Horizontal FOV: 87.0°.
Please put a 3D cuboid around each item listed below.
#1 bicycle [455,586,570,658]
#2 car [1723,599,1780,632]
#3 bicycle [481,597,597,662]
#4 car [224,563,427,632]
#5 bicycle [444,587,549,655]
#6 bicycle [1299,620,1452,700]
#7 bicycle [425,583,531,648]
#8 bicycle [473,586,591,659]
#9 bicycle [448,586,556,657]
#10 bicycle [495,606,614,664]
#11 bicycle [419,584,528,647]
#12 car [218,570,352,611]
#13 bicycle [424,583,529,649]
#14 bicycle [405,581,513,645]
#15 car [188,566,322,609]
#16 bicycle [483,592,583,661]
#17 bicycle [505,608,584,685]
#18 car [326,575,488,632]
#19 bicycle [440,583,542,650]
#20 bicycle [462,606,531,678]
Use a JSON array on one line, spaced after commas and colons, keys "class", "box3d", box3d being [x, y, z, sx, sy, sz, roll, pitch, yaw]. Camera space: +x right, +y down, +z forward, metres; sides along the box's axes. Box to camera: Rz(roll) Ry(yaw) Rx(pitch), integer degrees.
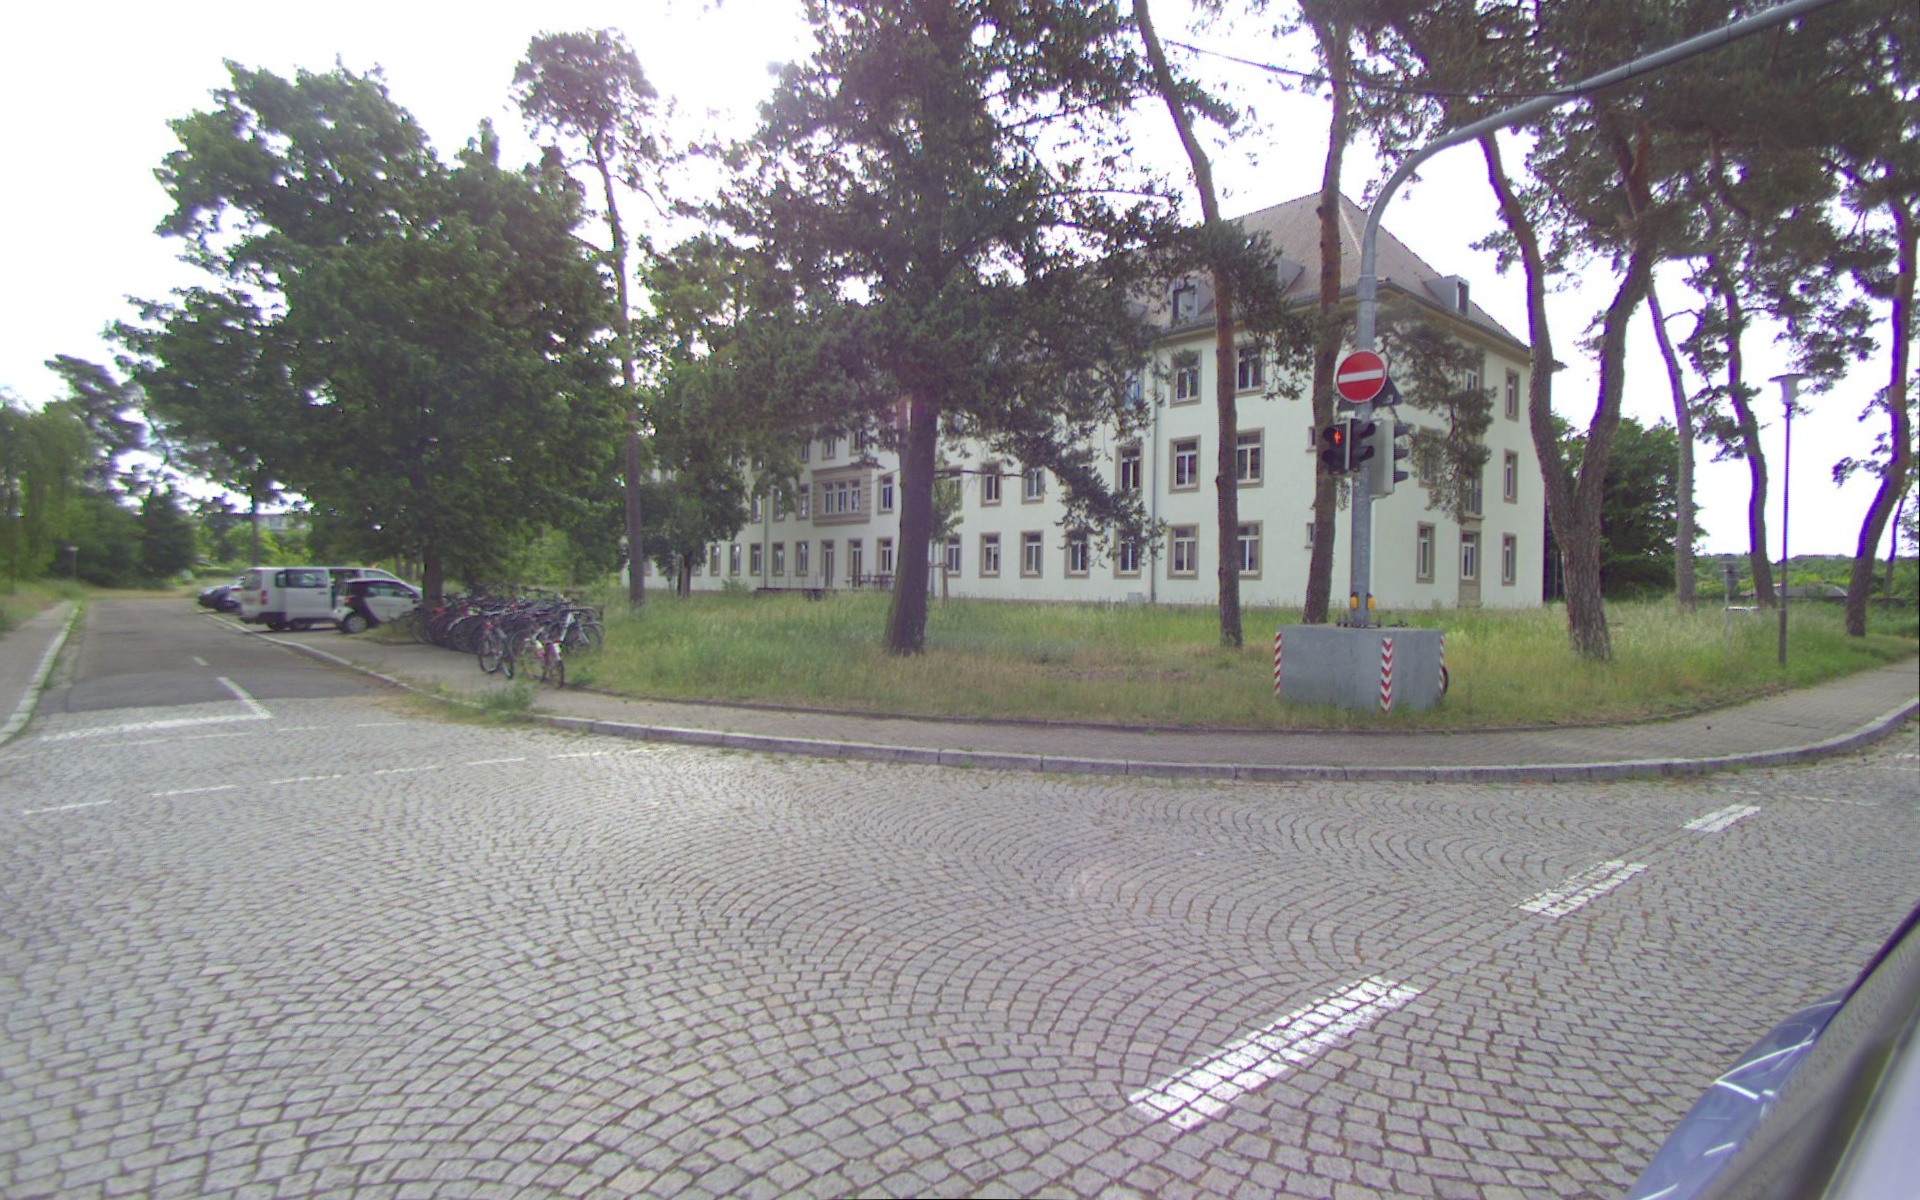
[{"class": "bicycle", "box3d": [-8.635, 0.412, 19.577, 1.938, 1.336, 0.578, 0, 0, -36]}, {"class": "car", "box3d": [38.613, 0.726, 49.340, 3.222, 1.451, 1.640, -3, 3, -41]}, {"class": "bicycle", "box3d": [-7.588, 0.520, 18.293, 1.866, 1.115, 0.543, 0, 0, -36]}, {"class": "car", "box3d": [-19.337, -0.105, 31.063, 2.224, 1.934, 4.805, 1, 1, 33]}, {"class": "bicycle", "box3d": [-9.307, 0.409, 20.374, 1.882, 1.336, 0.393, 0, 0, -36]}, {"class": "bicycle", "box3d": [5.189, 0.721, 12.727, 0.563, 0.885, 1.703, 1, 1, -40]}, {"class": "bicycle", "box3d": [-10.336, 0.328, 21.743, 1.977, 1.336, 0.542, 0, 0, -36]}, {"class": "bicycle", "box3d": [-8.123, 0.413, 19.271, 2.009, 1.336, 0.439, 0, 0, -36]}, {"class": "bicycle", "box3d": [-9.035, 0.412, 20.012, 1.884, 1.336, 0.507, 0, 0, -36]}, {"class": "bicycle", "box3d": [-7.126, 0.592, 17.829, 1.866, 0.961, 0.543, 0, 0, -37]}, {"class": "bicycle", "box3d": [-10.657, 0.327, 22.220, 2.092, 1.336, 0.556, 0, 0, -36]}, {"class": "car", "box3d": [-27.983, -0.396, 42.048, 4.437, 1.638, 1.997, 0, 1, -41]}, {"class": "bicycle", "box3d": [-10.101, 0.326, 21.195, 1.902, 1.336, 0.555, 0, 0, -36]}, {"class": "bicycle", "box3d": [-11.207, 0.280, 22.683, 2.063, 1.384, 0.760, 1, 0, -36]}, {"class": "car", "box3d": [-30.593, -0.526, 44.005, 4.613, 1.795, 1.997, 0, 1, -41]}, {"class": "bicycle", "box3d": [-7.912, 0.475, 18.781, 1.608, 1.231, 0.543, 0, 0, -36]}, {"class": "bicycle", "box3d": [-5.950, 0.633, 14.450, 0.521, 0.992, 1.623, 1, 0, -42]}, {"class": "car", "box3d": [-16.092, 0.093, 29.517, 3.861, 1.549, 1.861, 0, 1, -40]}, {"class": "bicycle", "box3d": [-9.629, 0.330, 20.798, 1.818, 1.336, 0.557, 0, 0, -36]}, {"class": "bicycle", "box3d": [-7.199, 0.622, 15.685, 0.533, 1.027, 1.538, 1, 0, -42]}]
